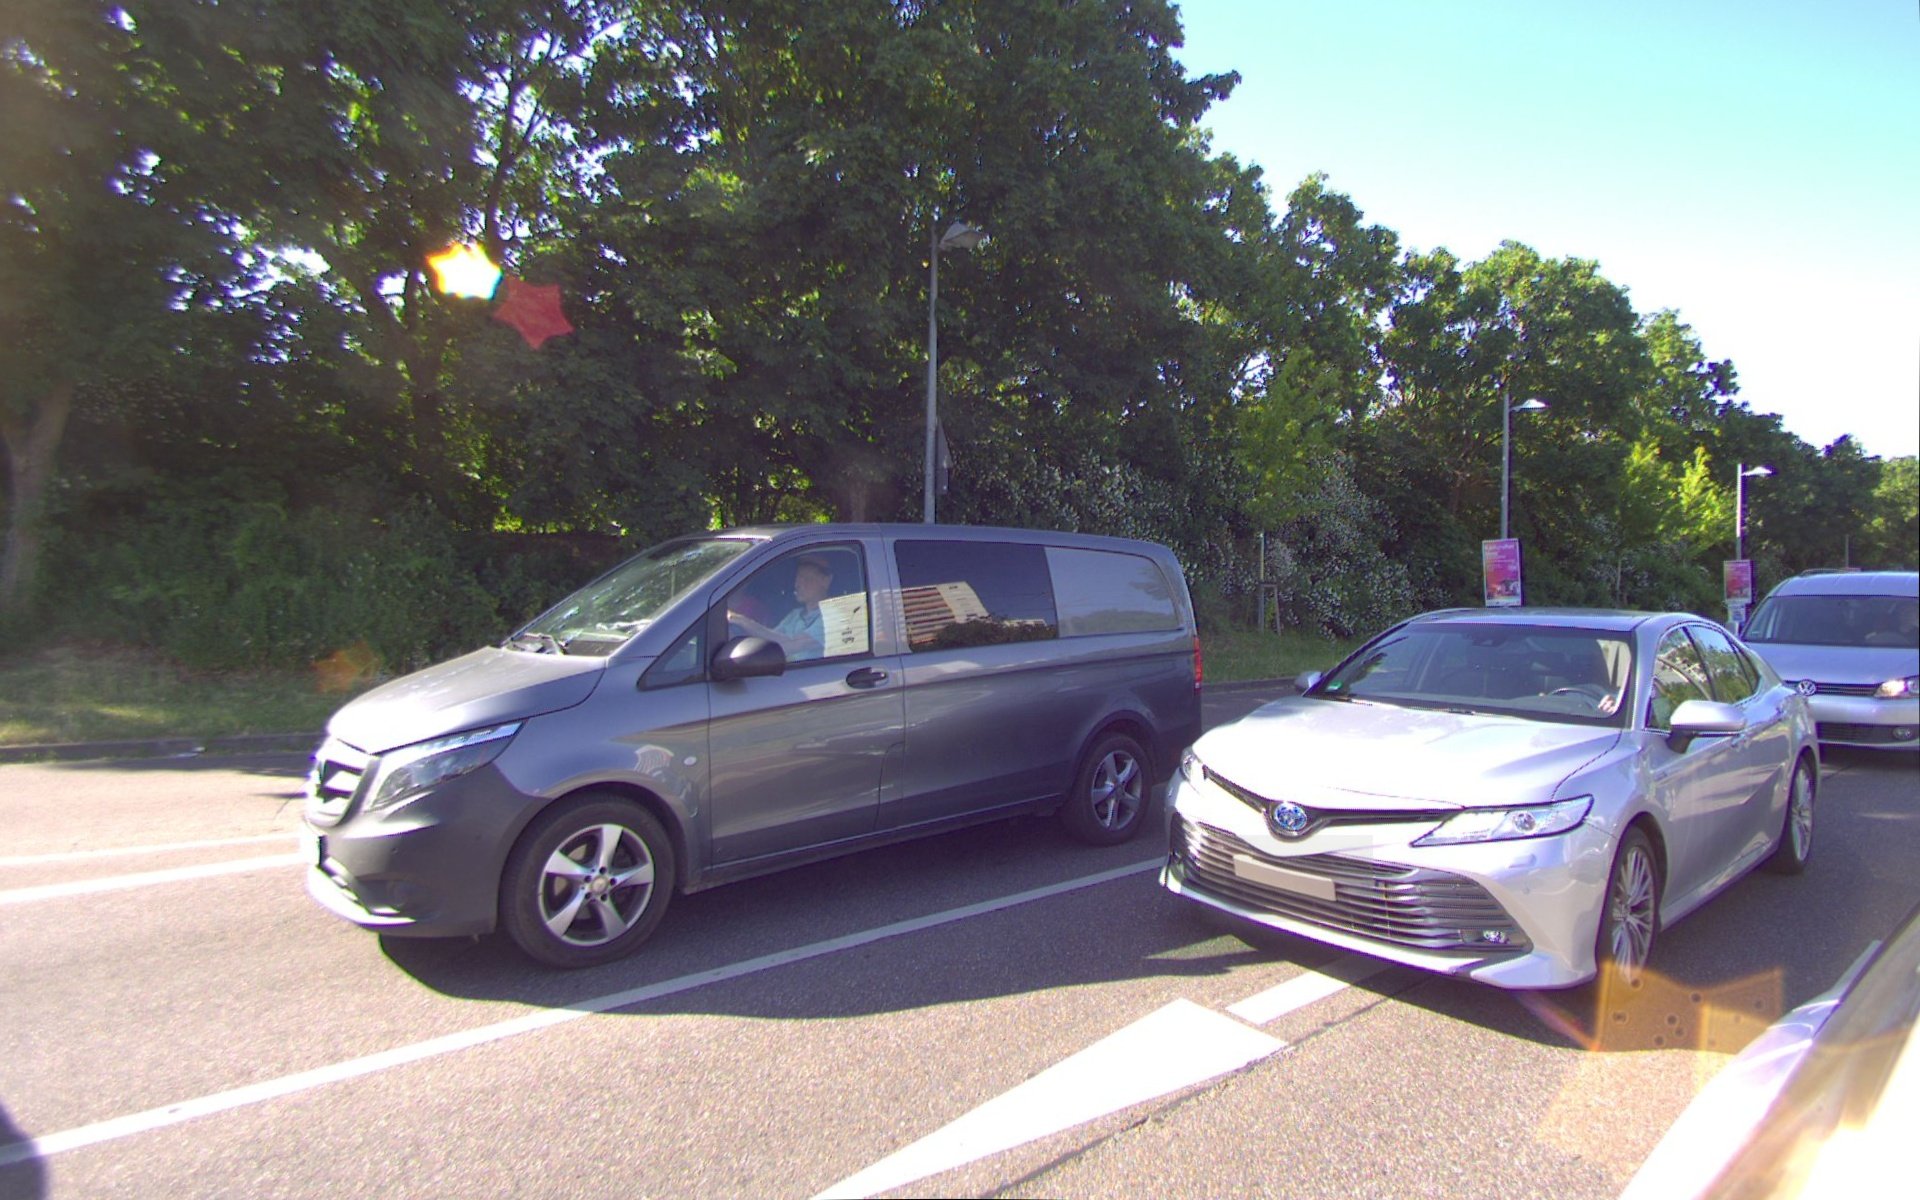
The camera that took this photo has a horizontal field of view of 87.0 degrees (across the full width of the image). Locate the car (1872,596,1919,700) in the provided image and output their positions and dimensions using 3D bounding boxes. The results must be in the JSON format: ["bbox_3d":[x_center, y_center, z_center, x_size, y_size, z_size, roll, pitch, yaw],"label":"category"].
[{"bbox_3d":[14.971,0.673,14.875,3.995,1.421,1.776,0,2,-40],"label":"car"}]

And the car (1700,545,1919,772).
[{"bbox_3d":[9.501,0.470,10.550,4.540,1.928,1.822,0,1,-40],"label":"car"}]

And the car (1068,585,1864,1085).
[{"bbox_3d":[2.949,0.694,5.358,4.664,1.477,2.069,0,2,-40],"label":"car"}]

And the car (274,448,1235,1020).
[{"bbox_3d":[-0.773,0.416,5.792,5.056,1.917,1.998,0,1,-40],"label":"car"}]

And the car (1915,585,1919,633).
[{"bbox_3d":[34.716,0.306,35.168,4.307,1.627,1.776,0,1,-41],"label":"car"}]
